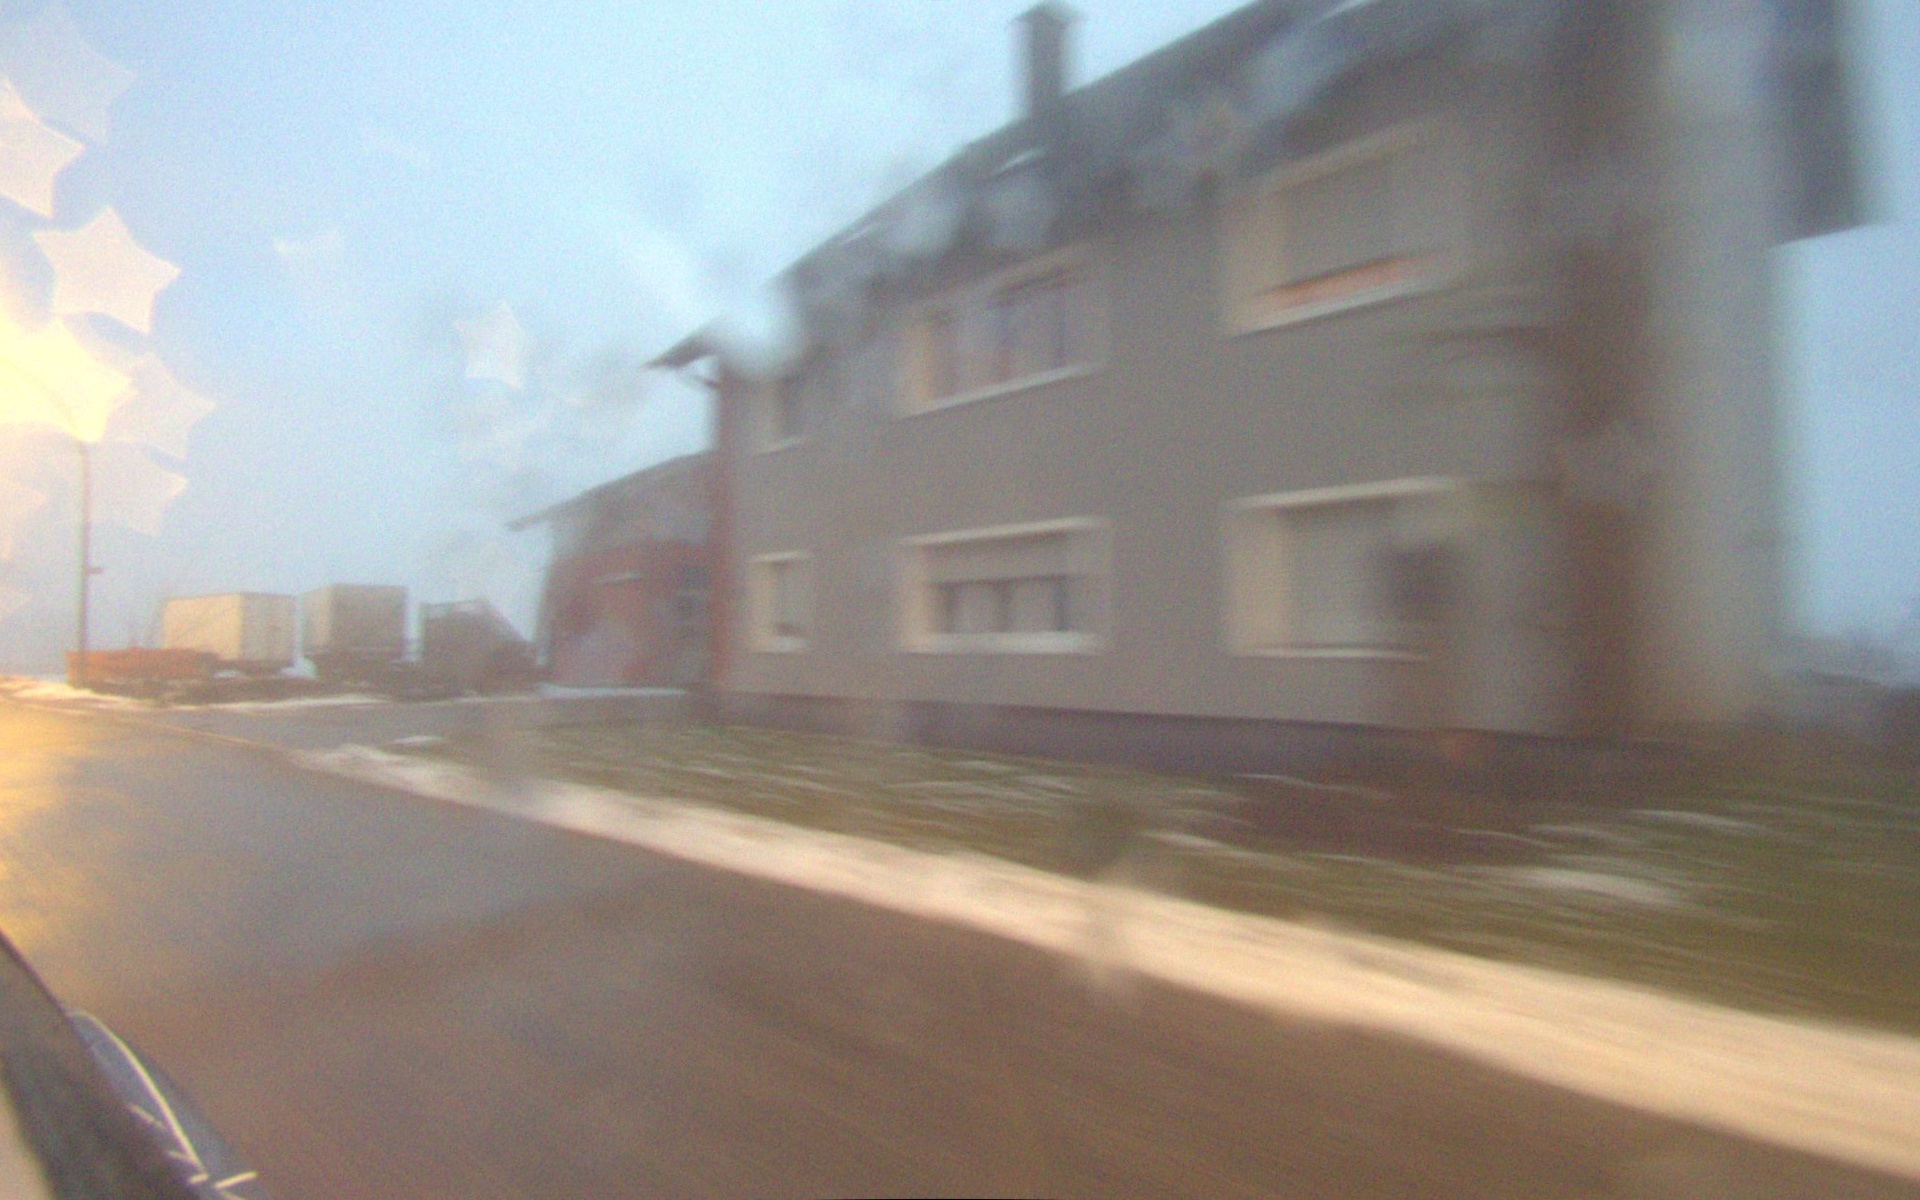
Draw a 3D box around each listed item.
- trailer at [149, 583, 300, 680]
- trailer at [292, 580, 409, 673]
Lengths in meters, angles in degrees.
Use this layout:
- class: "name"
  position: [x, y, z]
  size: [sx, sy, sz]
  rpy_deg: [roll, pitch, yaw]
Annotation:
- class: "trailer"
  position: [-20.791, 0.946, 28.657]
  size: [3.417, 2.625, 1.684]
  rpy_deg: [-1, -5, 18]
- class: "trailer"
  position: [-17.913, 0.884, 29.687]
  size: [1.970, 2.508, 4.013]
  rpy_deg: [5, -6, -44]
